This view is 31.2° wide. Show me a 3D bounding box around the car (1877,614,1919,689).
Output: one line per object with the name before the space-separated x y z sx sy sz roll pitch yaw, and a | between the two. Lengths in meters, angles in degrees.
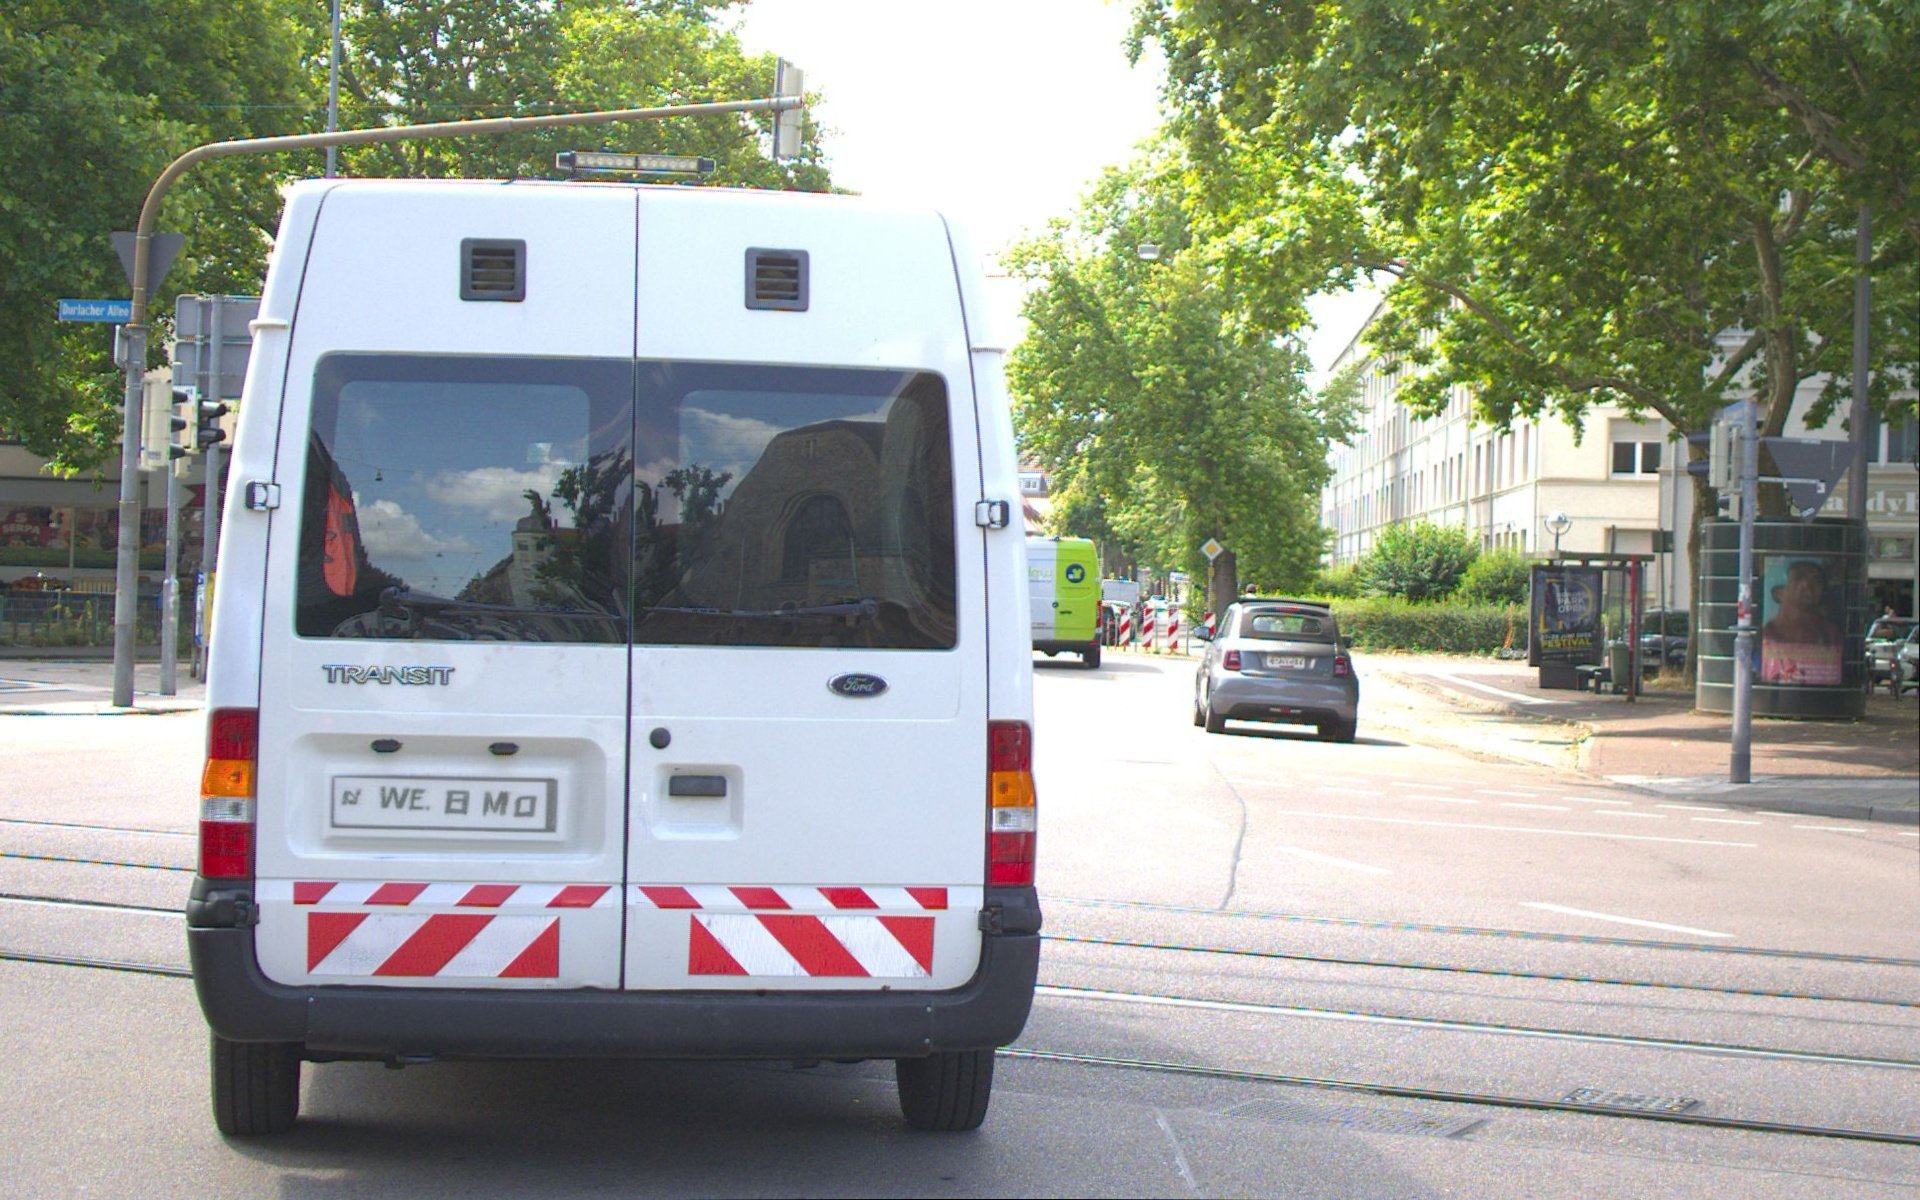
car | 18.556 1.001 66.371 1.466 1.384 3.233 2 0 17

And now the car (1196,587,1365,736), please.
car | 3.642 0.669 39.503 1.692 1.532 3.468 2 1 2

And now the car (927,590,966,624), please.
car | -0.693 0.350 175.465 1.701 1.655 3.749 2 1 3

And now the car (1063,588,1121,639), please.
car | 4.185 0.419 109.355 1.725 1.549 3.633 2 0 1

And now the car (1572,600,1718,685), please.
car | 13.800 0.849 69.088 2.030 1.595 4.533 2 0 22

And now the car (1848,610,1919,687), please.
car | 21.058 1.100 77.942 1.467 1.660 3.064 2 0 20

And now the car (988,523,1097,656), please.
car | 1.765 -0.247 72.573 2.119 2.632 6.328 2 1 2

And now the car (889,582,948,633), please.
car | -1.410 0.232 118.656 1.786 1.655 4.315 2 1 2

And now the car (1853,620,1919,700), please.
car | 17.130 1.083 62.871 1.466 1.384 3.065 2 0 15

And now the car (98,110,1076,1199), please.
car | -1.097 0.117 9.810 2.046 2.325 4.715 2 0 -7

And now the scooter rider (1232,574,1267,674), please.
scooter rider | 5.320 0.434 63.242 0.526 1.806 0.649 2 0 -1
